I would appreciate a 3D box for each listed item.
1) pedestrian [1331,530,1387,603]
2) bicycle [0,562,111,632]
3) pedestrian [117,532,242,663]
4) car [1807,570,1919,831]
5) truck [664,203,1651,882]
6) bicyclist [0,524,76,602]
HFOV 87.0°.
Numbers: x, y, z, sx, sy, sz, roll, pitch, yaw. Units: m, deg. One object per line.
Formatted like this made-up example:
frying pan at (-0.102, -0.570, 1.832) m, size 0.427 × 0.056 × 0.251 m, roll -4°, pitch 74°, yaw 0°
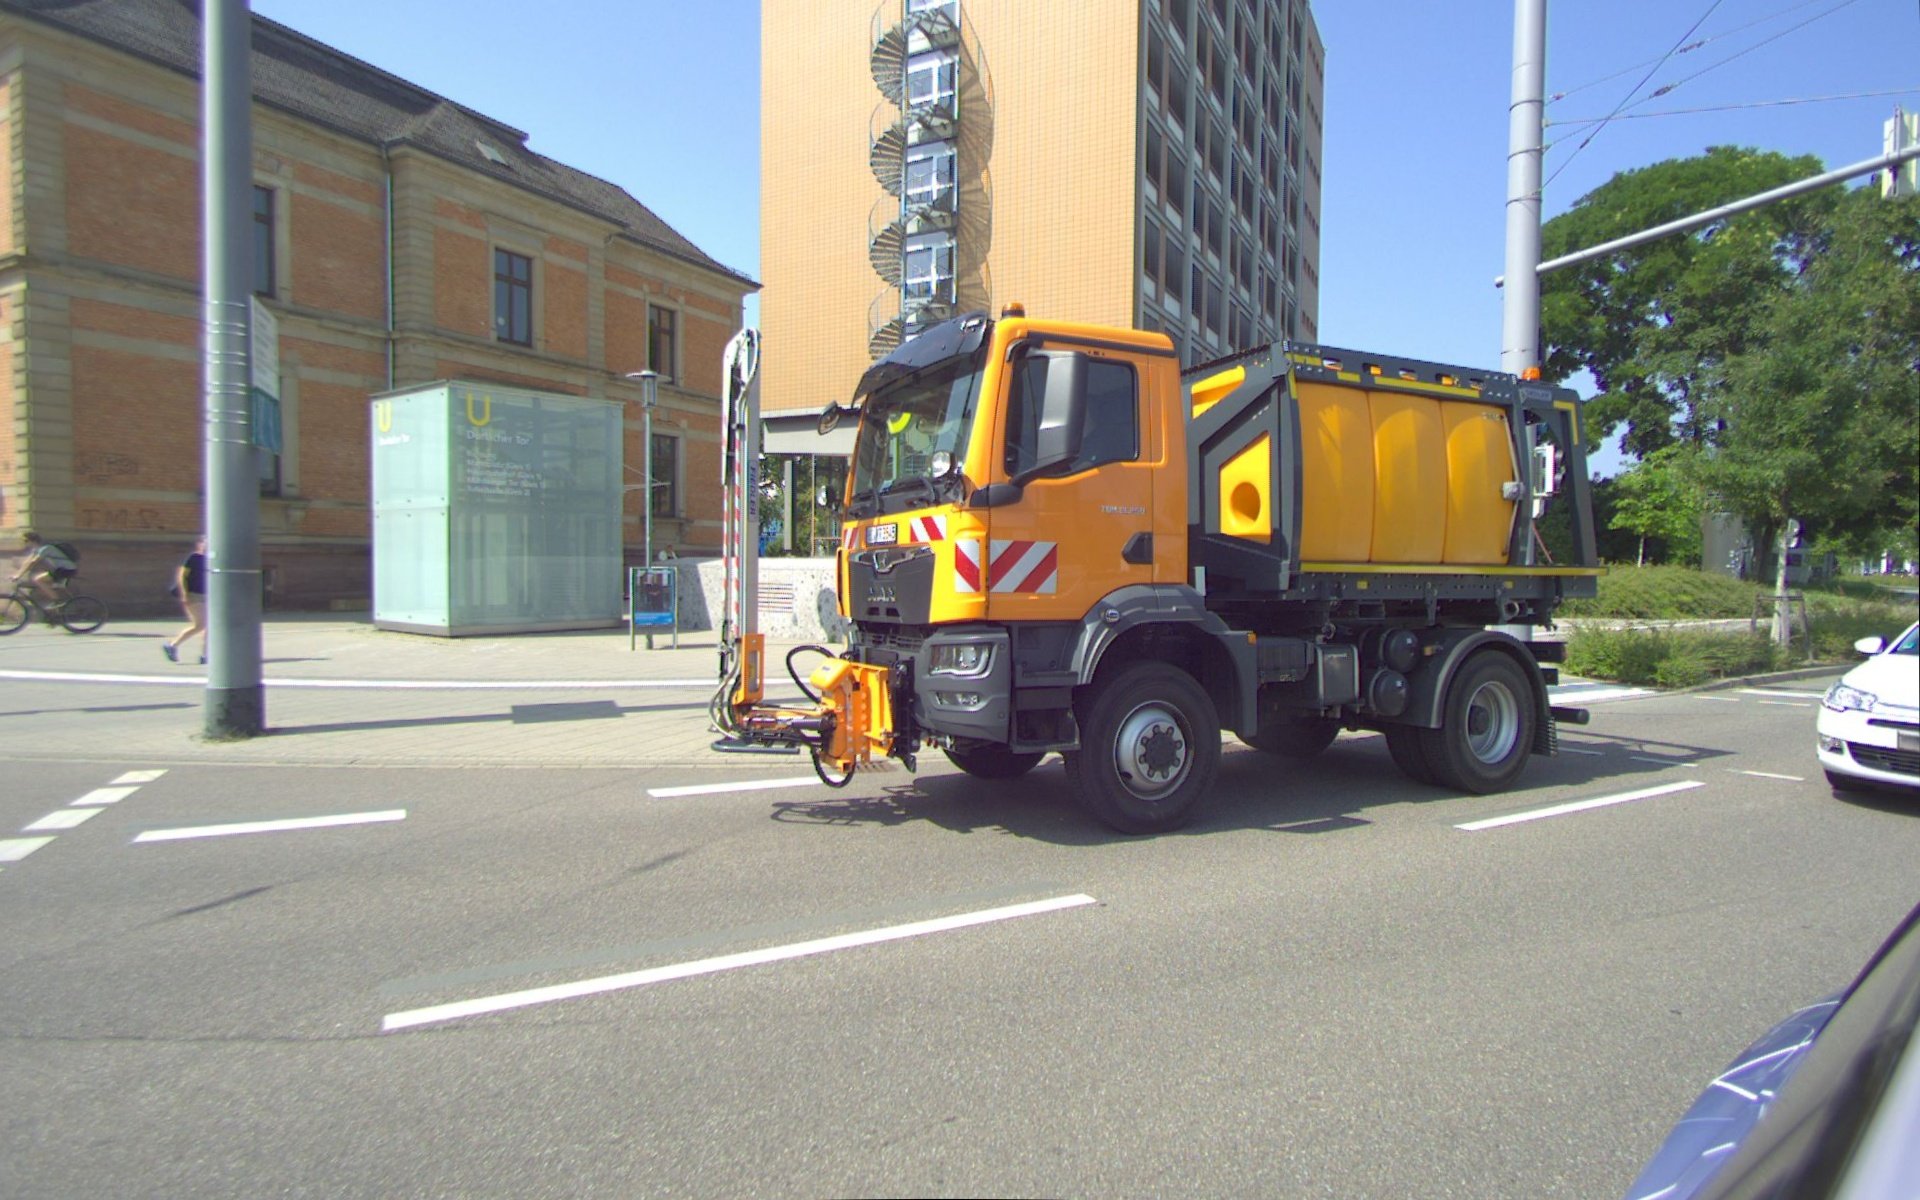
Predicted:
pedestrian at (7.961, -0.670, 20.191) m, size 0.784 × 1.411 × 0.835 m, roll 2°, pitch 3°, yaw 44°
bicycle at (-15.424, -0.069, 16.902) m, size 0.710 × 1.125 × 1.828 m, roll 2°, pitch 3°, yaw 41°
pedestrian at (-10.024, -0.052, 13.025) m, size 0.933 × 1.628 × 0.793 m, roll 0°, pitch 3°, yaw 4°
car at (8.157, 0.589, 7.353) m, size 4.513 × 1.638 × 1.773 m, roll -2°, pitch 1°, yaw -32°
truck at (1.601, -0.334, 7.789) m, size 7.043 × 3.269 × 3.047 m, roll -1°, pitch 1°, yaw -26°
bicyclist at (-15.416, -0.628, 16.899) m, size 1.098 × 1.249 × 0.851 m, roll 2°, pitch 3°, yaw 42°
